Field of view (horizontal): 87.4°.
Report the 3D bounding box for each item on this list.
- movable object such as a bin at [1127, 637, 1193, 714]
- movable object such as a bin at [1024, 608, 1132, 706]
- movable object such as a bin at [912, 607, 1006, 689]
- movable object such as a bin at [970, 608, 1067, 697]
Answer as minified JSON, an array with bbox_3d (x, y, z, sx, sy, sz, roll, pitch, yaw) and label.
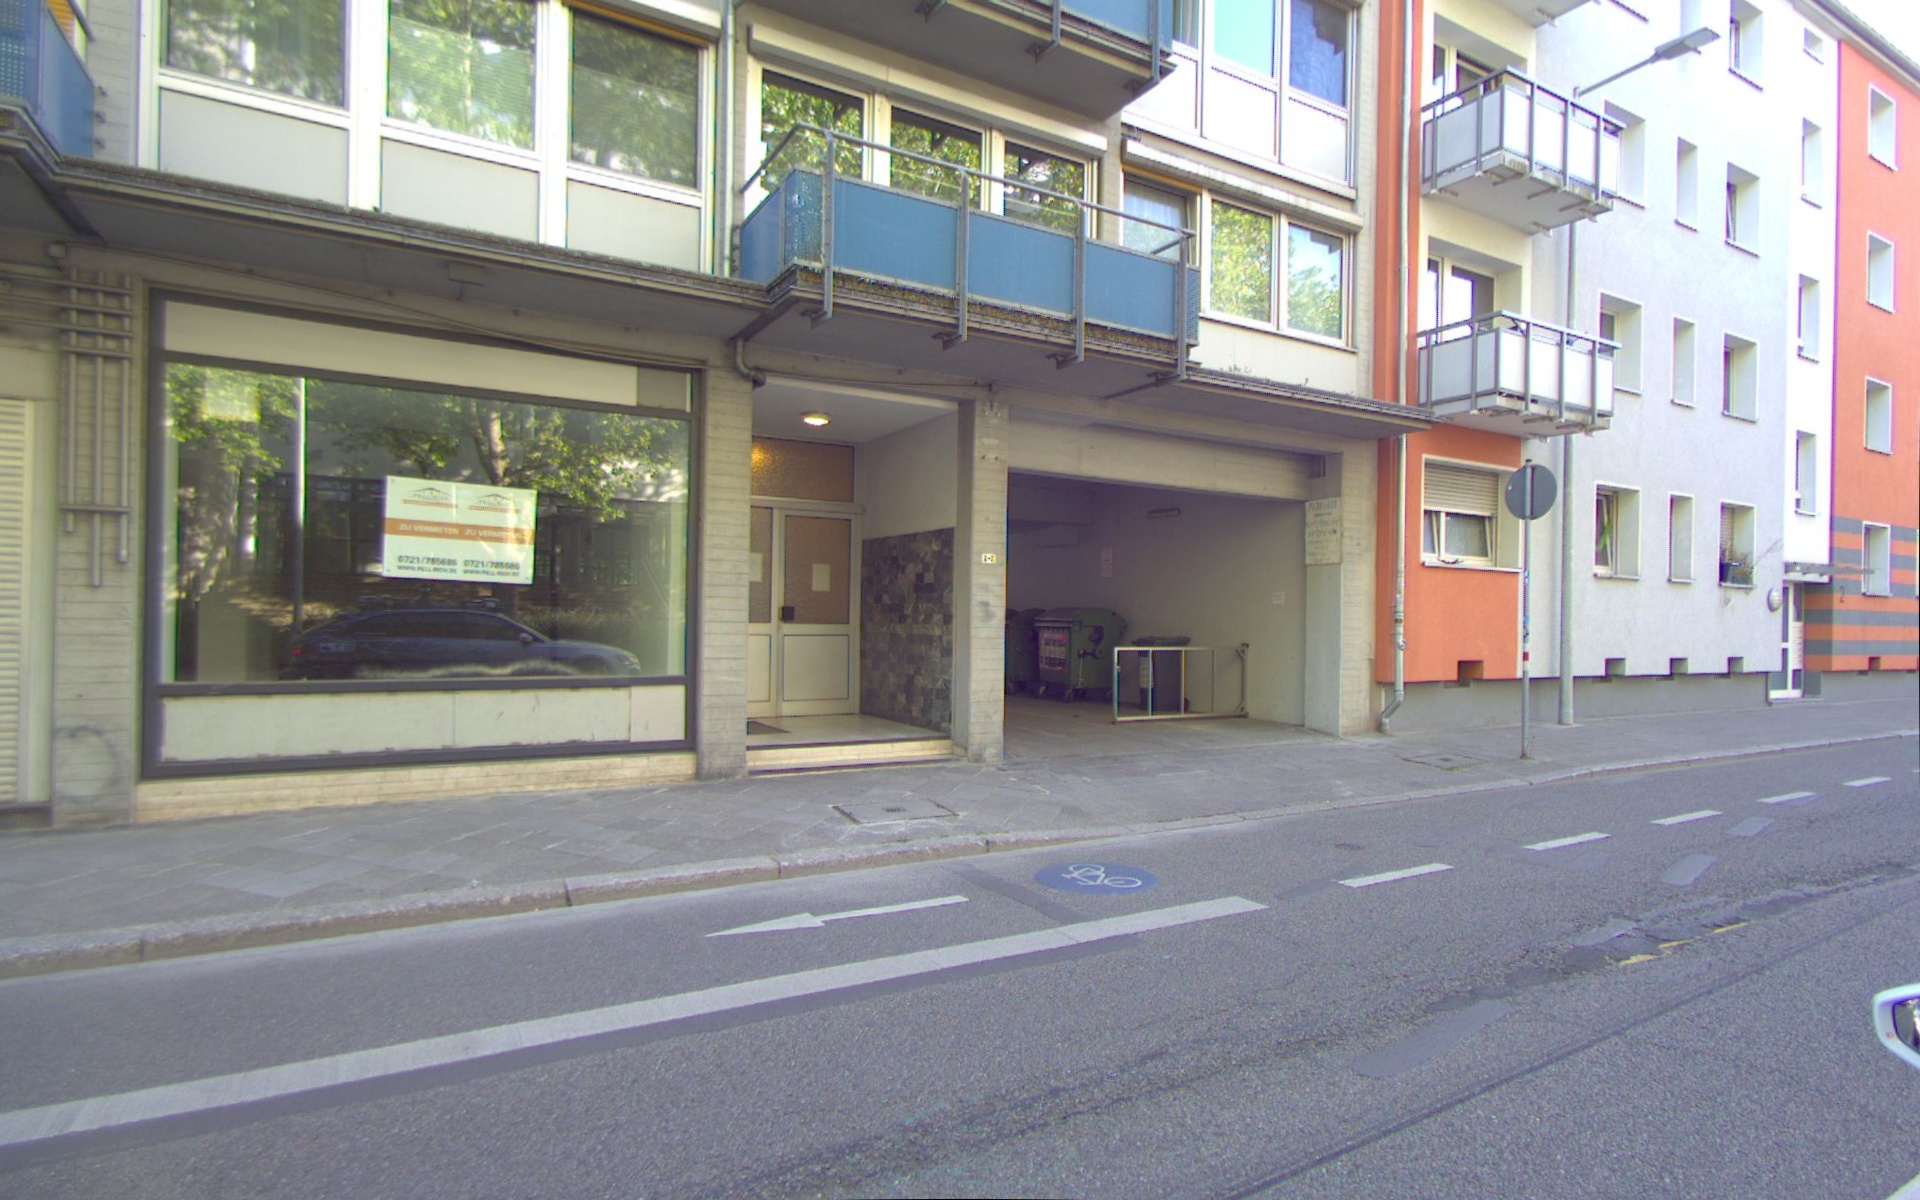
[{"bbox_3d":[2.892,1.079,14.535,0.695,1.055,0.593,2,0,-30],"label":"movable object such as a bin"},{"bbox_3d":[1.842,0.865,15.853,1.128,1.449,1.342,1,0,-28],"label":"movable object such as a bin"},{"bbox_3d":[-0.037,0.869,18.879,1.119,1.449,1.666,1,0,-28],"label":"movable object such as a bin"},{"bbox_3d":[0.990,0.871,17.176,1.119,1.449,1.322,1,0,-28],"label":"movable object such as a bin"}]
